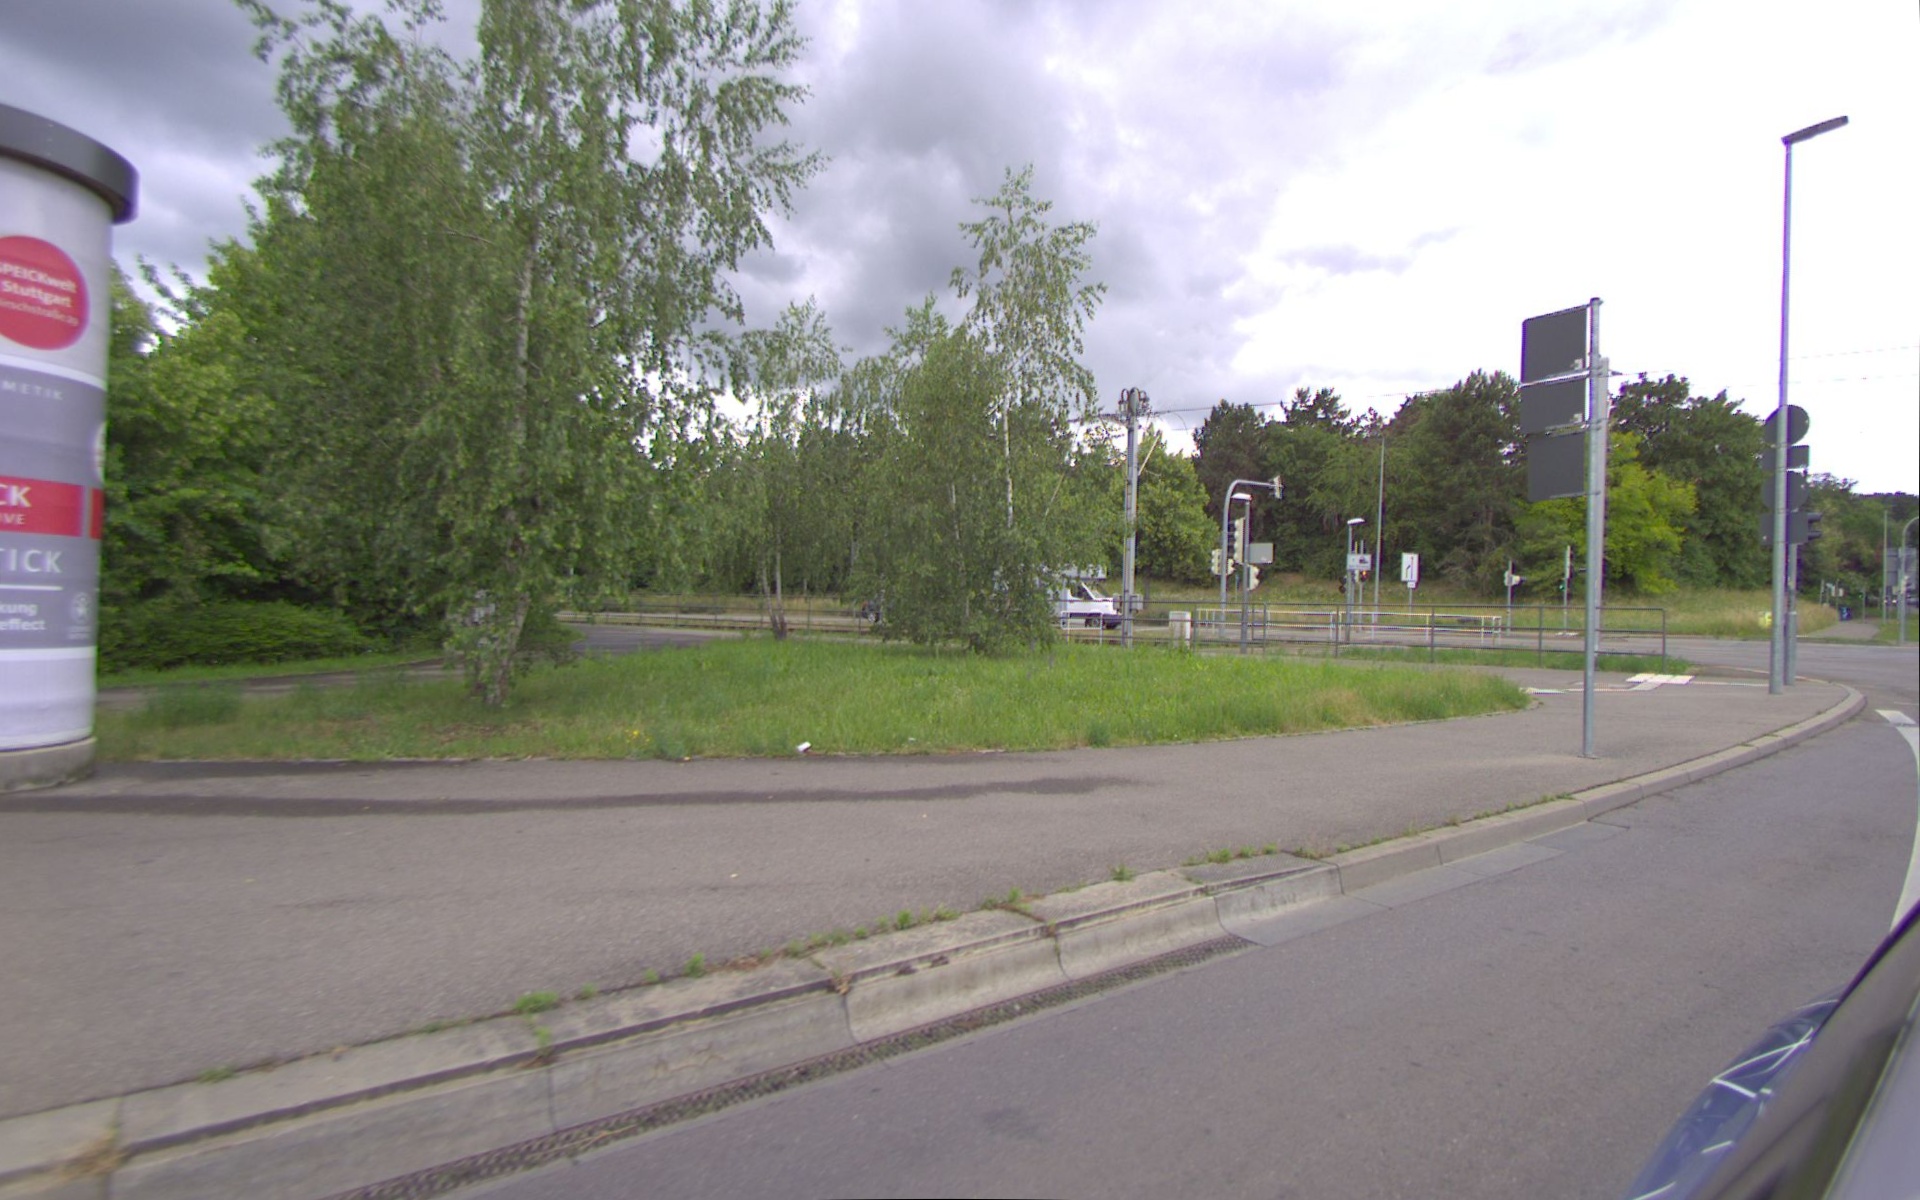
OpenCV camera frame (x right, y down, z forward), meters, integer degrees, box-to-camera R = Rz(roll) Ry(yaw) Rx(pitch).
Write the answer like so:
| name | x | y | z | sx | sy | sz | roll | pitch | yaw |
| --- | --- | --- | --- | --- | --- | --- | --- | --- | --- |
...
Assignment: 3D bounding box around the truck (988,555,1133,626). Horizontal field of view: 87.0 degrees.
| name | x | y | z | sx | sy | sz | roll | pitch | yaw |
| --- | --- | --- | --- | --- | --- | --- | --- | --- | --- |
| truck | 4.530 | -0.460 | 46.064 | 6.222 | 3.047 | 2.089 | 0 | 3 | 31 |
